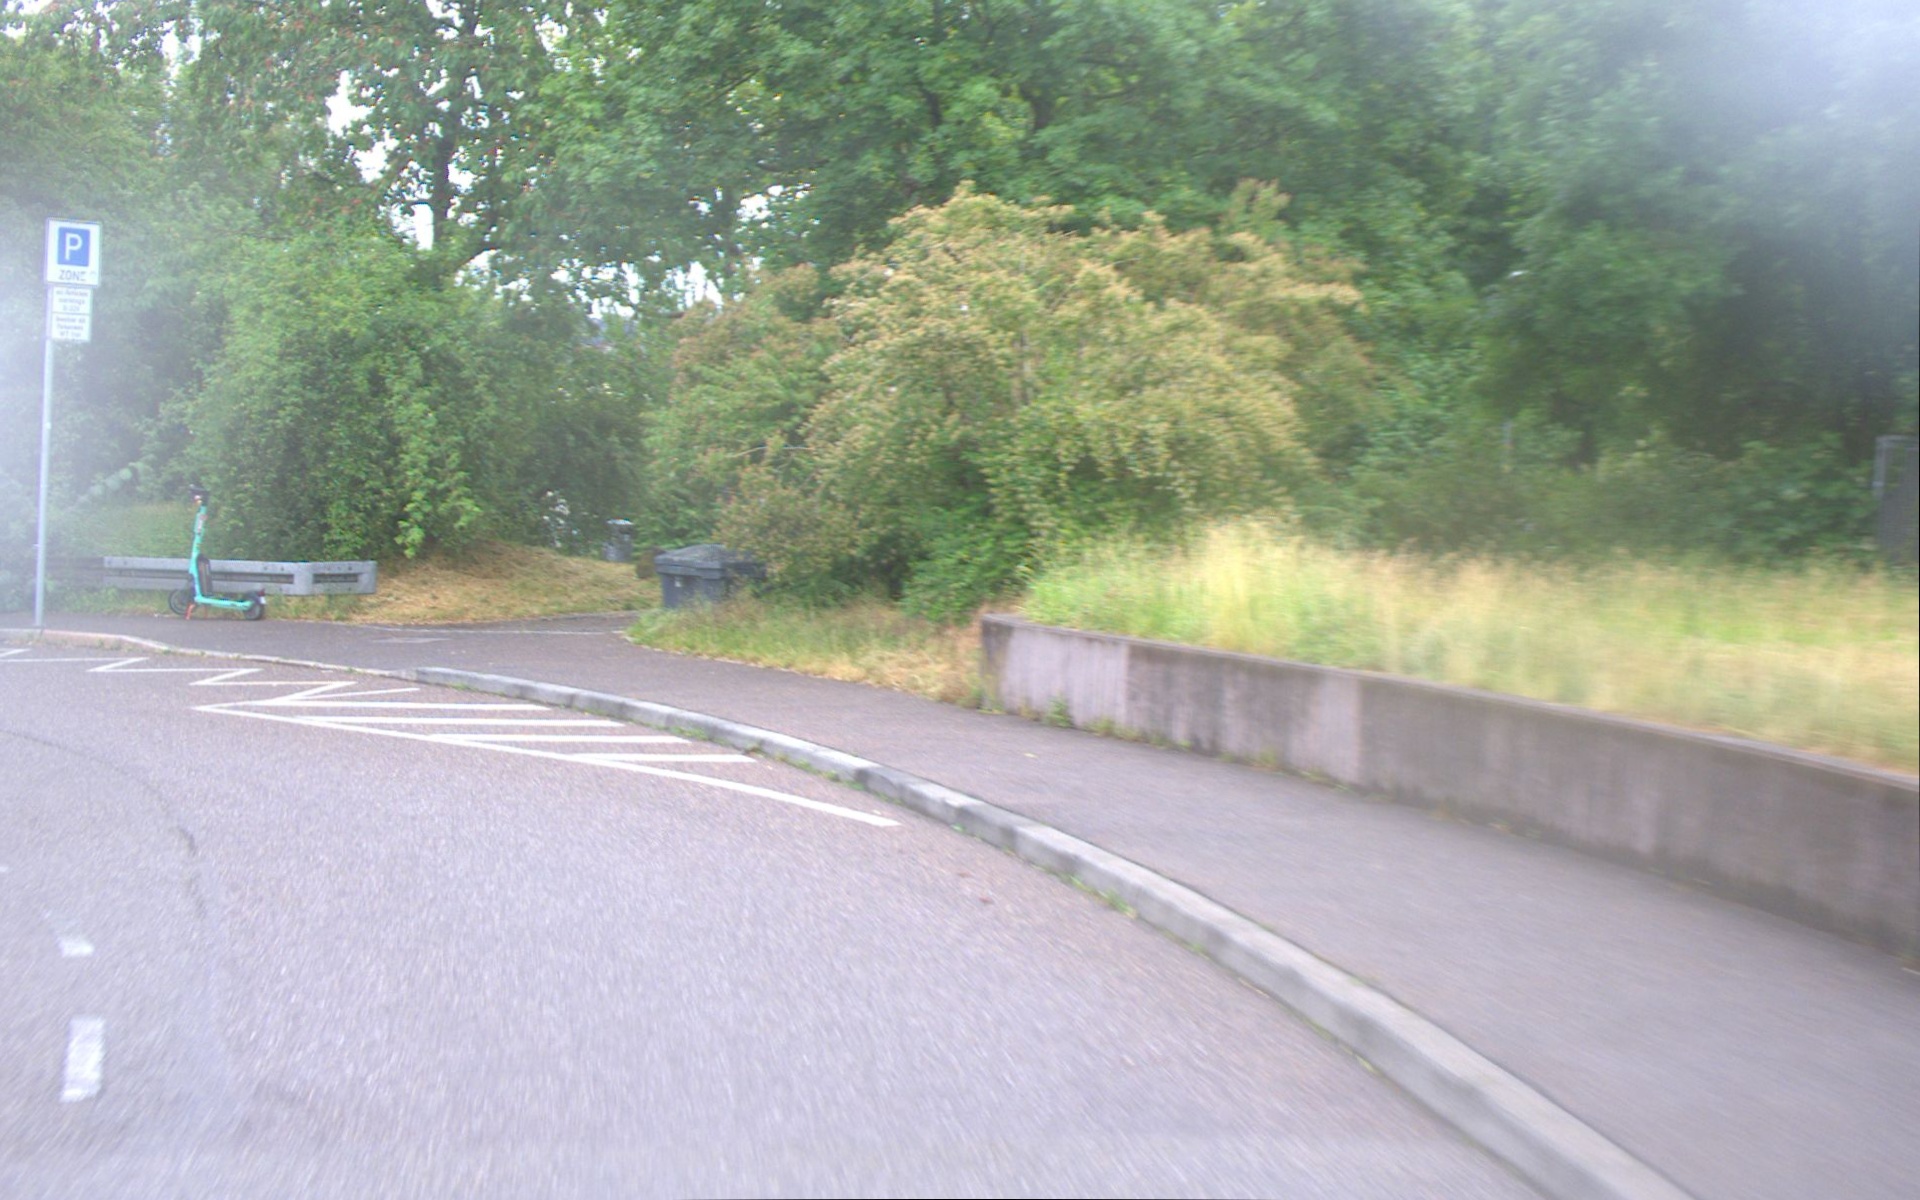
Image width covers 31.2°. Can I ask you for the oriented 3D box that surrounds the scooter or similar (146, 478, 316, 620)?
[{"bbox_3d":[-6.748,-0.473,31.797,1.707,1.278,0.451,0,3,34],"label":"scooter or similar"}]
